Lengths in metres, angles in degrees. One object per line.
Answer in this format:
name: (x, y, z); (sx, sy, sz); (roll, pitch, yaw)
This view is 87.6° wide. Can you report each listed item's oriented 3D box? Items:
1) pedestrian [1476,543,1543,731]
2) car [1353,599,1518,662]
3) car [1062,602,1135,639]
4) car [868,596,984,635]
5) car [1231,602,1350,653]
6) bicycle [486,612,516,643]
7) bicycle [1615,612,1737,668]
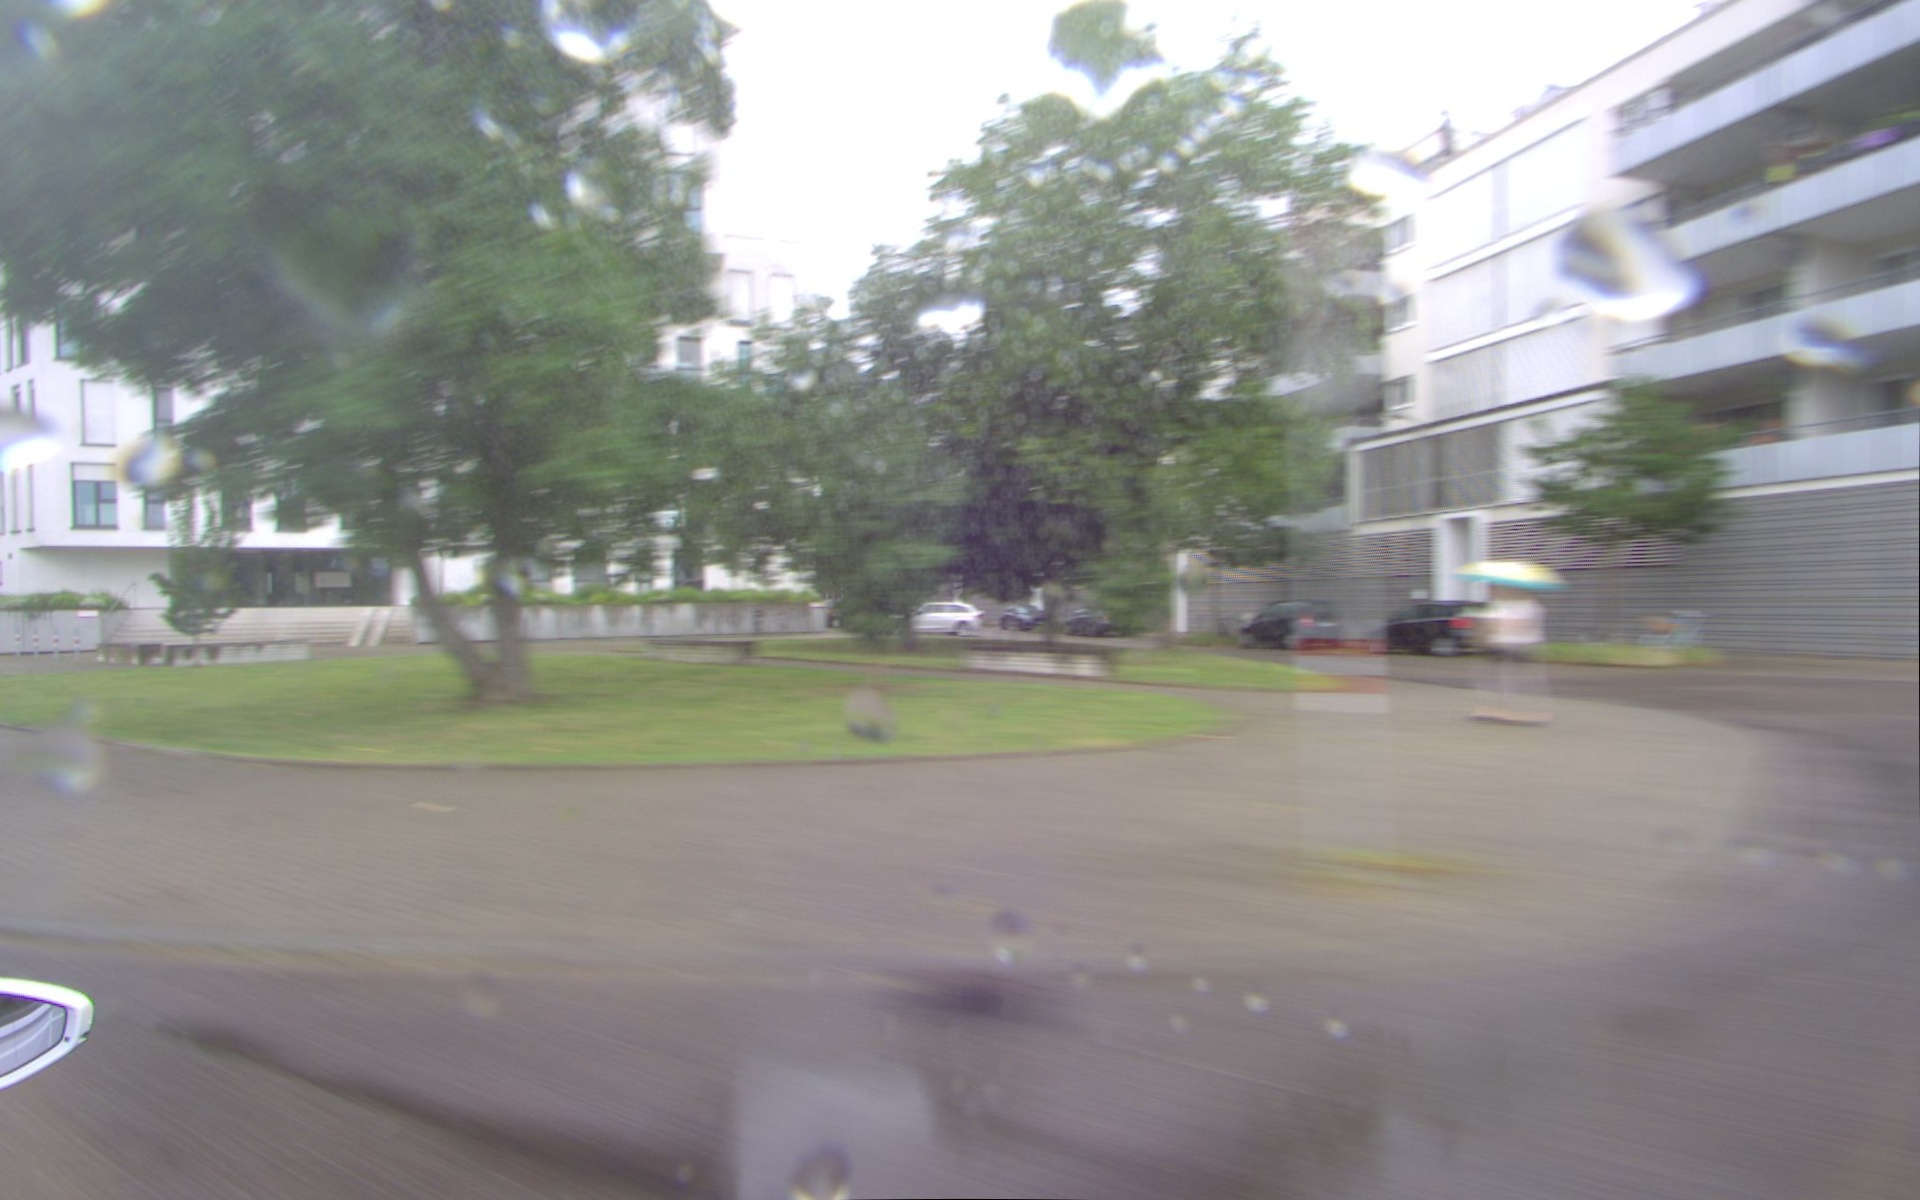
pedestrian: (6.288, 0.404, 11.447); (0.614, 2.040, 0.963); (0, 1, 32)
car: (12.820, 0.767, 27.283); (1.705, 1.569, 4.111); (0, 0, -19)
car: (6.494, 0.943, 47.415); (1.744, 1.569, 4.134); (-2, 1, -19)
car: (-1.475, 0.683, 43.382); (4.752, 1.527, 1.622); (2, 0, -17)
car: (10.861, 0.871, 33.227); (1.705, 1.569, 3.991); (0, 0, -19)
bicycle: (-16.406, 0.963, 35.832); (0.712, 1.047, 2.069); (-1, 0, -18)
bicycle: (14.919, 0.810, 20.862); (2.440, 1.102, 0.724); (0, 1, -17)
